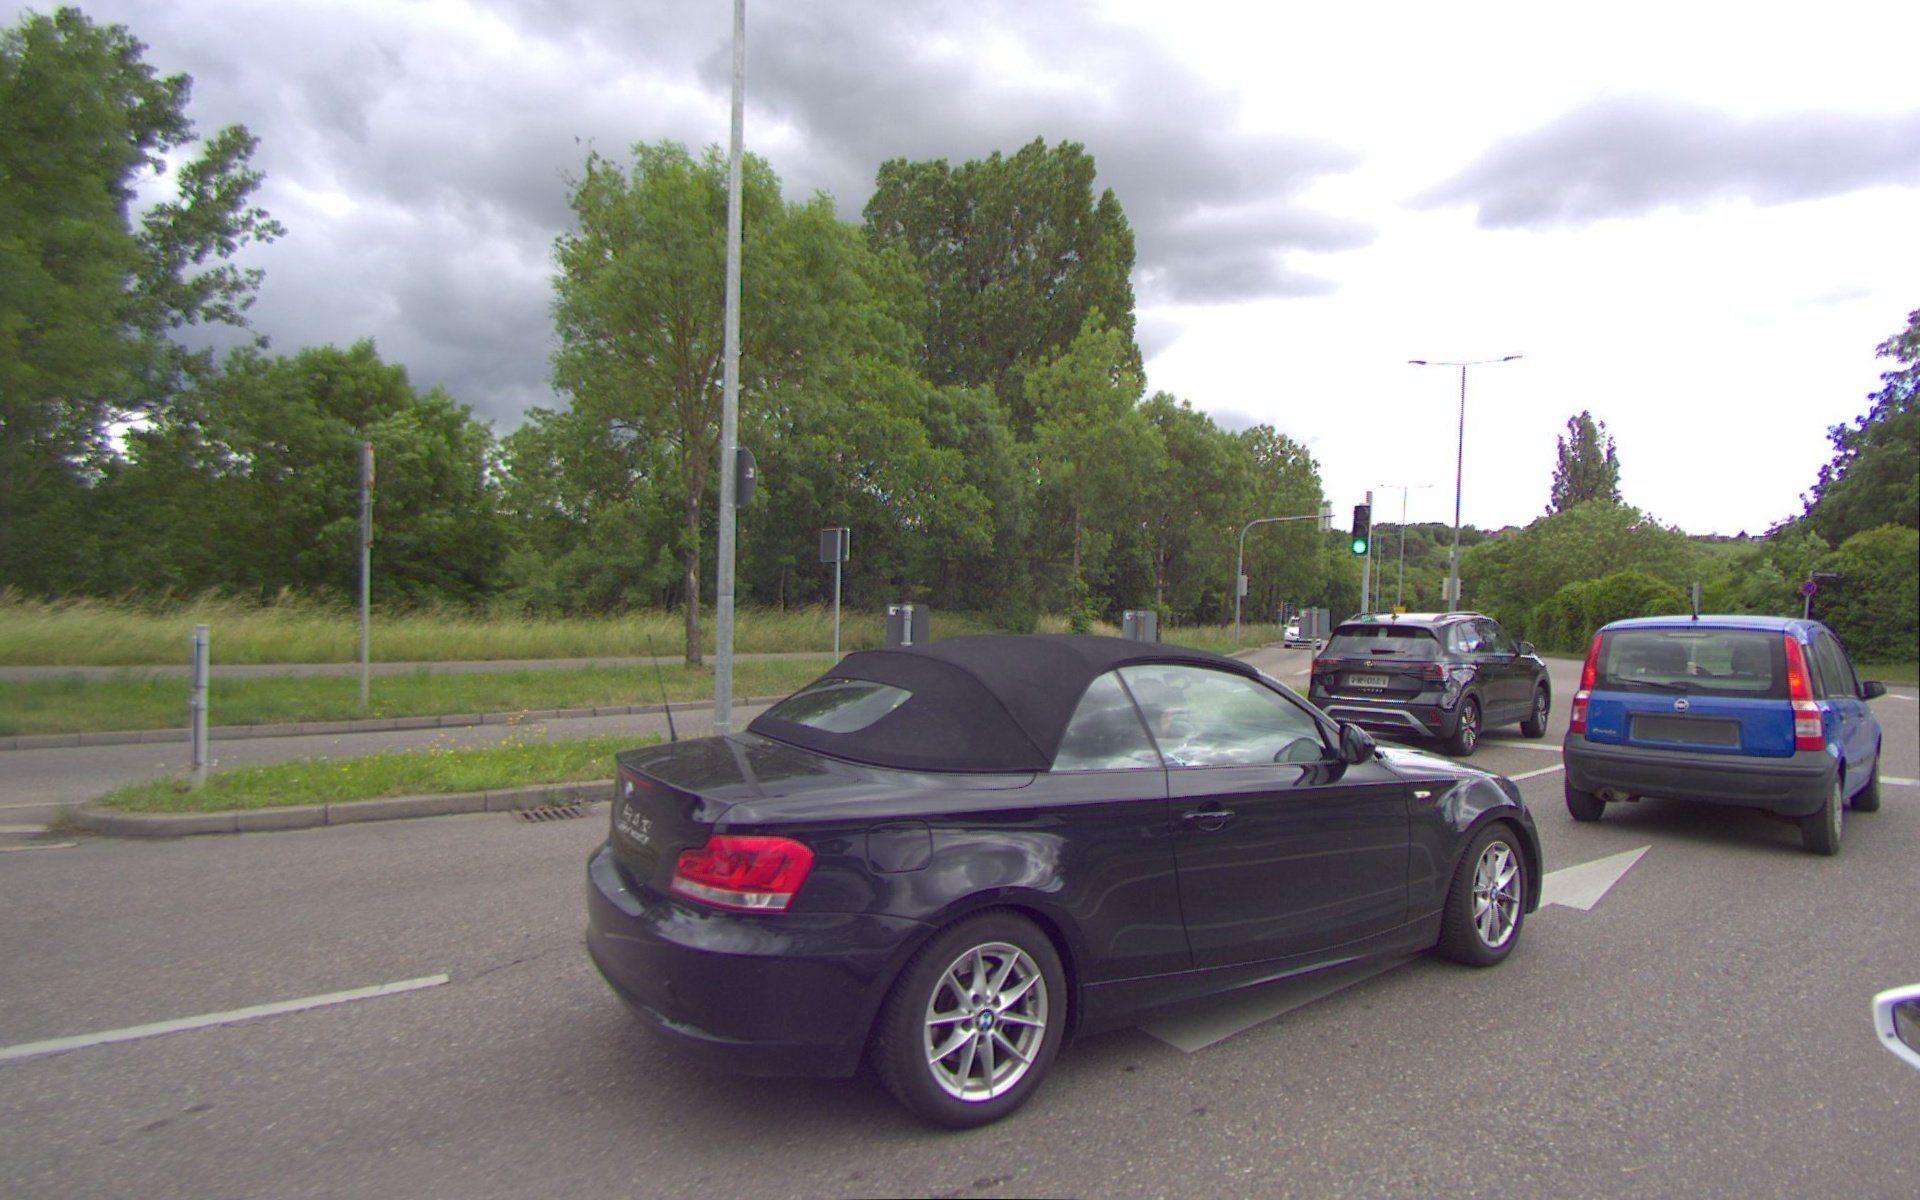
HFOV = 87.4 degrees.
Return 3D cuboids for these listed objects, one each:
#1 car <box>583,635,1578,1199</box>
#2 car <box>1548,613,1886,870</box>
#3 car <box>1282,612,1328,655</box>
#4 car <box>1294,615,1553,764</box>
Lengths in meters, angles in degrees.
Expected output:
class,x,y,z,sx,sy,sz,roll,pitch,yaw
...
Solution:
class,x,y,z,sx,sy,sz,roll,pitch,yaw
car,0.710,0.868,4.152,4.038,1.386,1.555,1,-1,-32
car,5.945,0.889,7.757,3.356,1.527,1.529,1,-1,-43
car,17.675,1.664,51.420,2.042,1.783,4.321,3,3,20
car,5.738,0.959,12.238,3.744,1.527,1.640,1,-1,-44
